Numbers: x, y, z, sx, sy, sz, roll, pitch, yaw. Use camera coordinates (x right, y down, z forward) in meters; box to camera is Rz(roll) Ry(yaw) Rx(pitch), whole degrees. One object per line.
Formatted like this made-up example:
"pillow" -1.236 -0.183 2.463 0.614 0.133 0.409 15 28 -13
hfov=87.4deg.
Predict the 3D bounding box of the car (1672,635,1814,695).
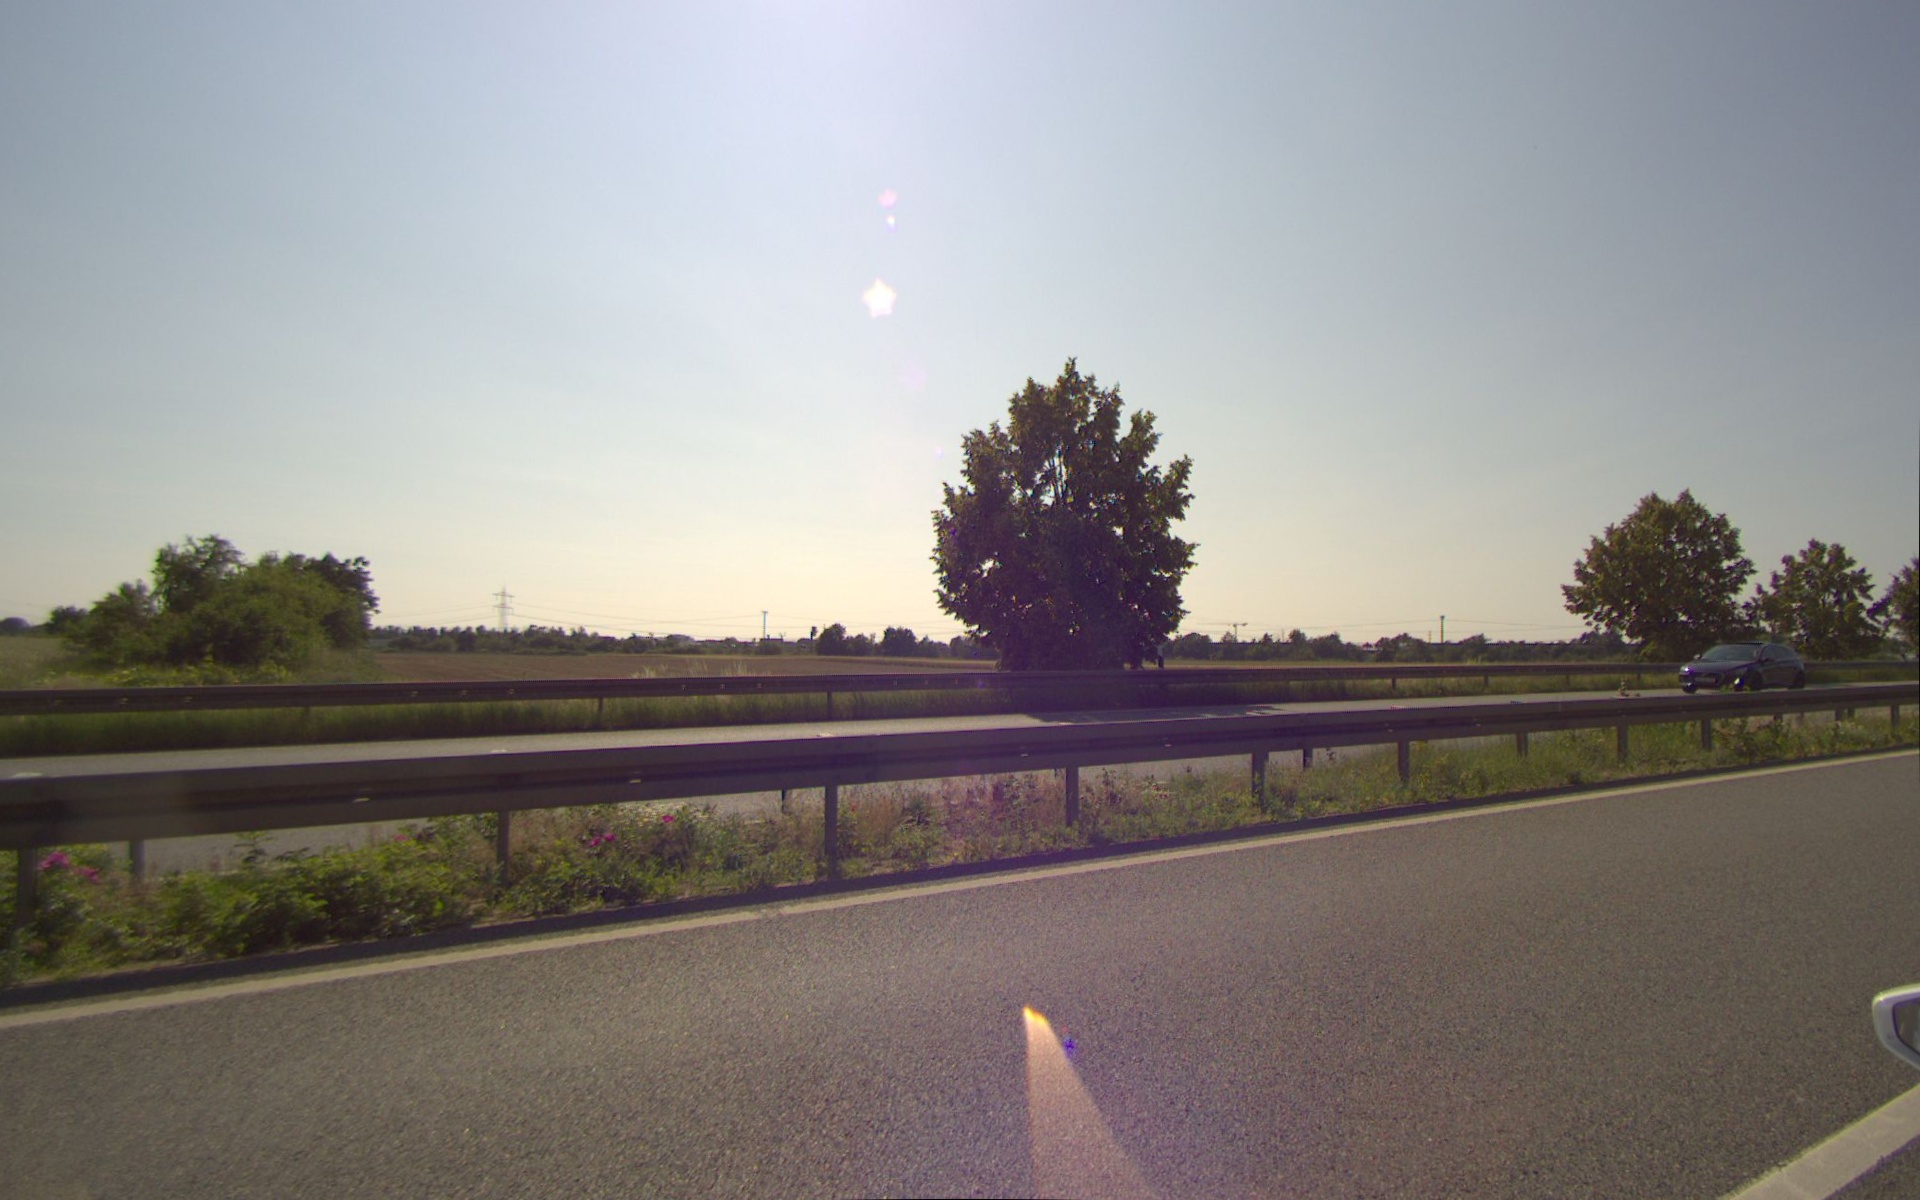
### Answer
"car" 22.829 1.842 29.245 4.506 1.574 1.644 1 0 -29
